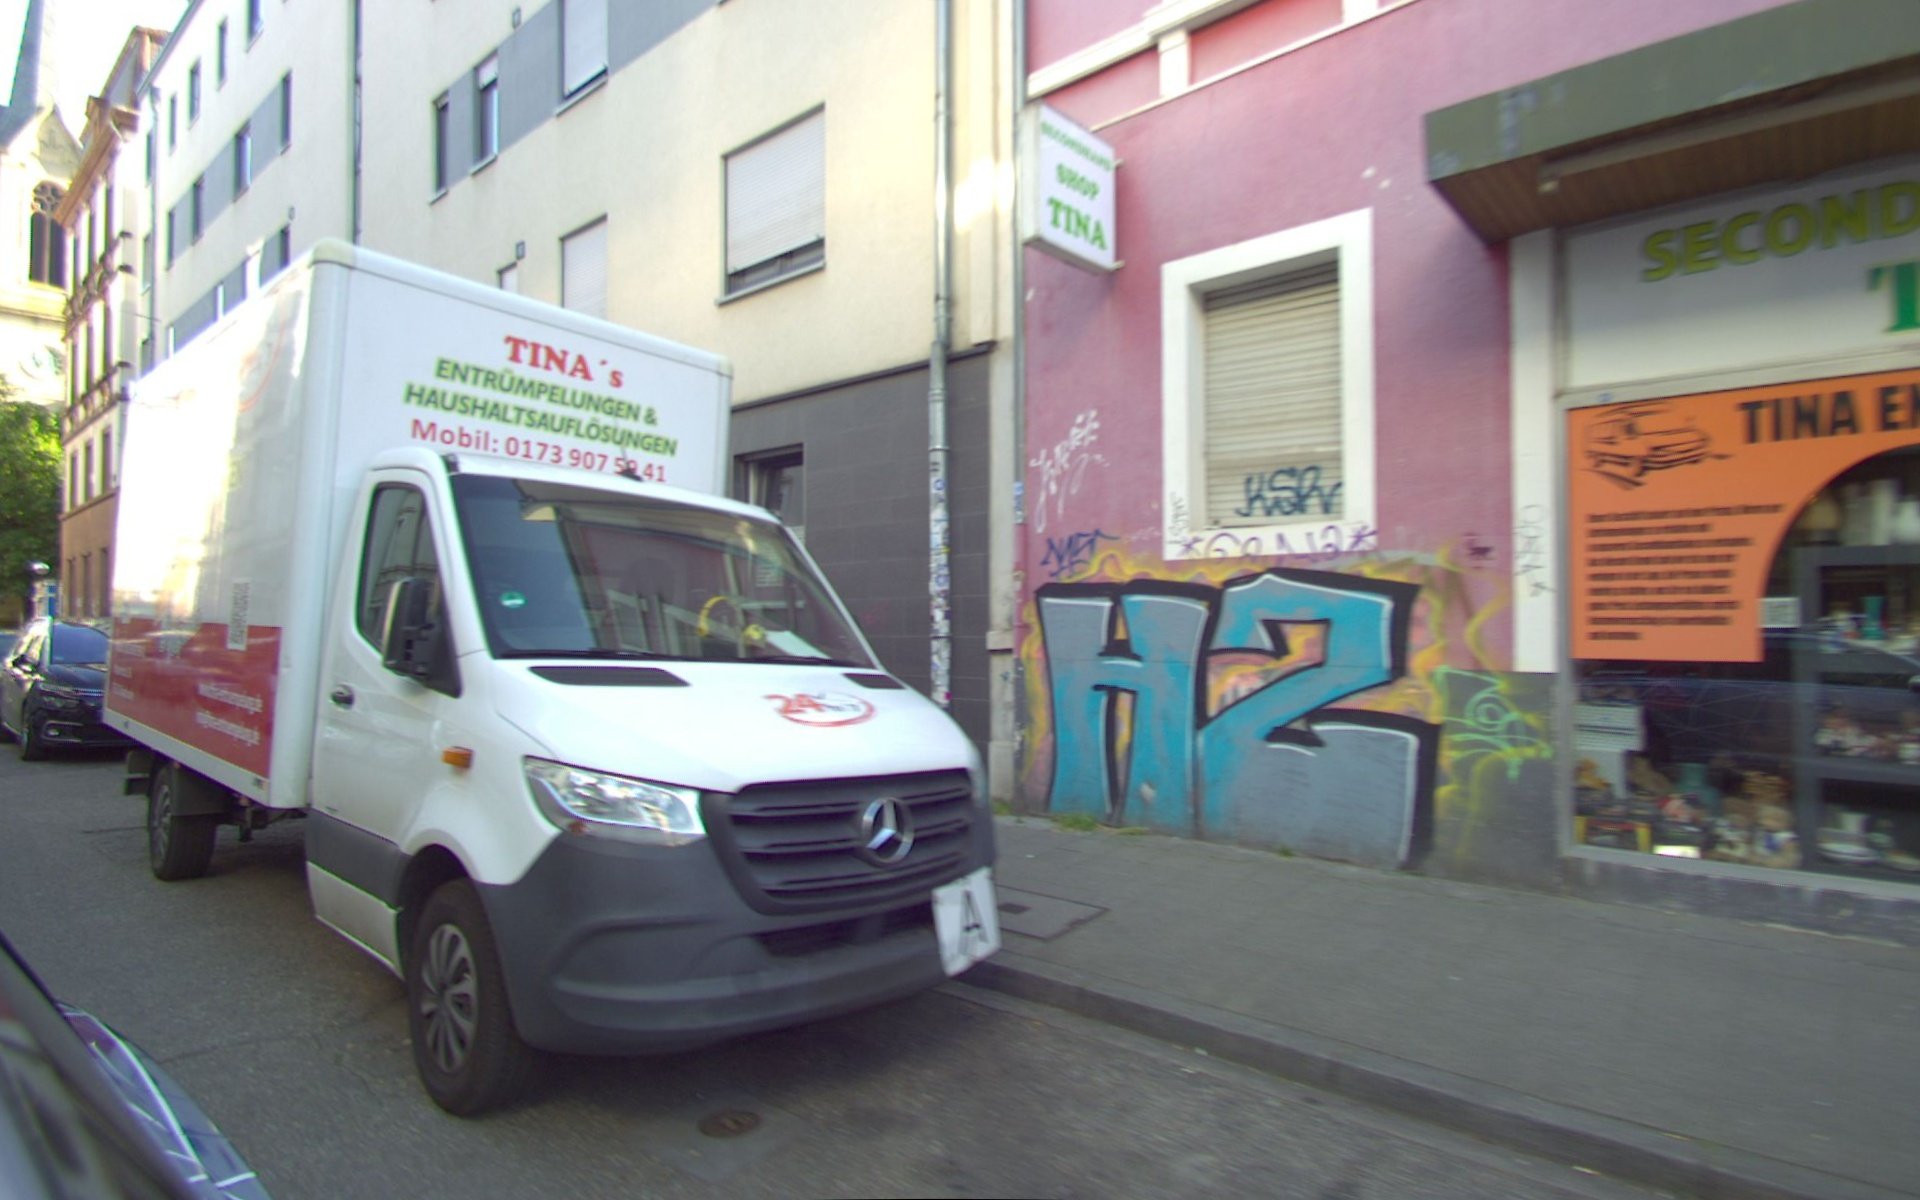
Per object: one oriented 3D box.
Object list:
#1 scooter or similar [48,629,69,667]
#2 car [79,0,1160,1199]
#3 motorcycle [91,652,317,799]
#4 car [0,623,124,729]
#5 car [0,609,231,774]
[{"bbox_3d":[-30.408,1.601,34.135,1.391,1.226,0.344,-1,-1,41],"label":"scooter or similar"},{"bbox_3d":[-2.640,-0.020,5.555,7.152,3.317,2.318,-1,-4,42],"label":"car"},{"bbox_3d":[-7.212,1.145,9.824,0.779,1.262,2.110,1,-3,-8],"label":"motorcycle"},{"bbox_3d":[-14.934,1.177,16.122,4.496,1.490,1.699,-3,-5,41],"label":"car"},{"bbox_3d":[-10.515,1.052,12.279,4.243,1.663,1.699,-3,-5,41],"label":"car"}]
